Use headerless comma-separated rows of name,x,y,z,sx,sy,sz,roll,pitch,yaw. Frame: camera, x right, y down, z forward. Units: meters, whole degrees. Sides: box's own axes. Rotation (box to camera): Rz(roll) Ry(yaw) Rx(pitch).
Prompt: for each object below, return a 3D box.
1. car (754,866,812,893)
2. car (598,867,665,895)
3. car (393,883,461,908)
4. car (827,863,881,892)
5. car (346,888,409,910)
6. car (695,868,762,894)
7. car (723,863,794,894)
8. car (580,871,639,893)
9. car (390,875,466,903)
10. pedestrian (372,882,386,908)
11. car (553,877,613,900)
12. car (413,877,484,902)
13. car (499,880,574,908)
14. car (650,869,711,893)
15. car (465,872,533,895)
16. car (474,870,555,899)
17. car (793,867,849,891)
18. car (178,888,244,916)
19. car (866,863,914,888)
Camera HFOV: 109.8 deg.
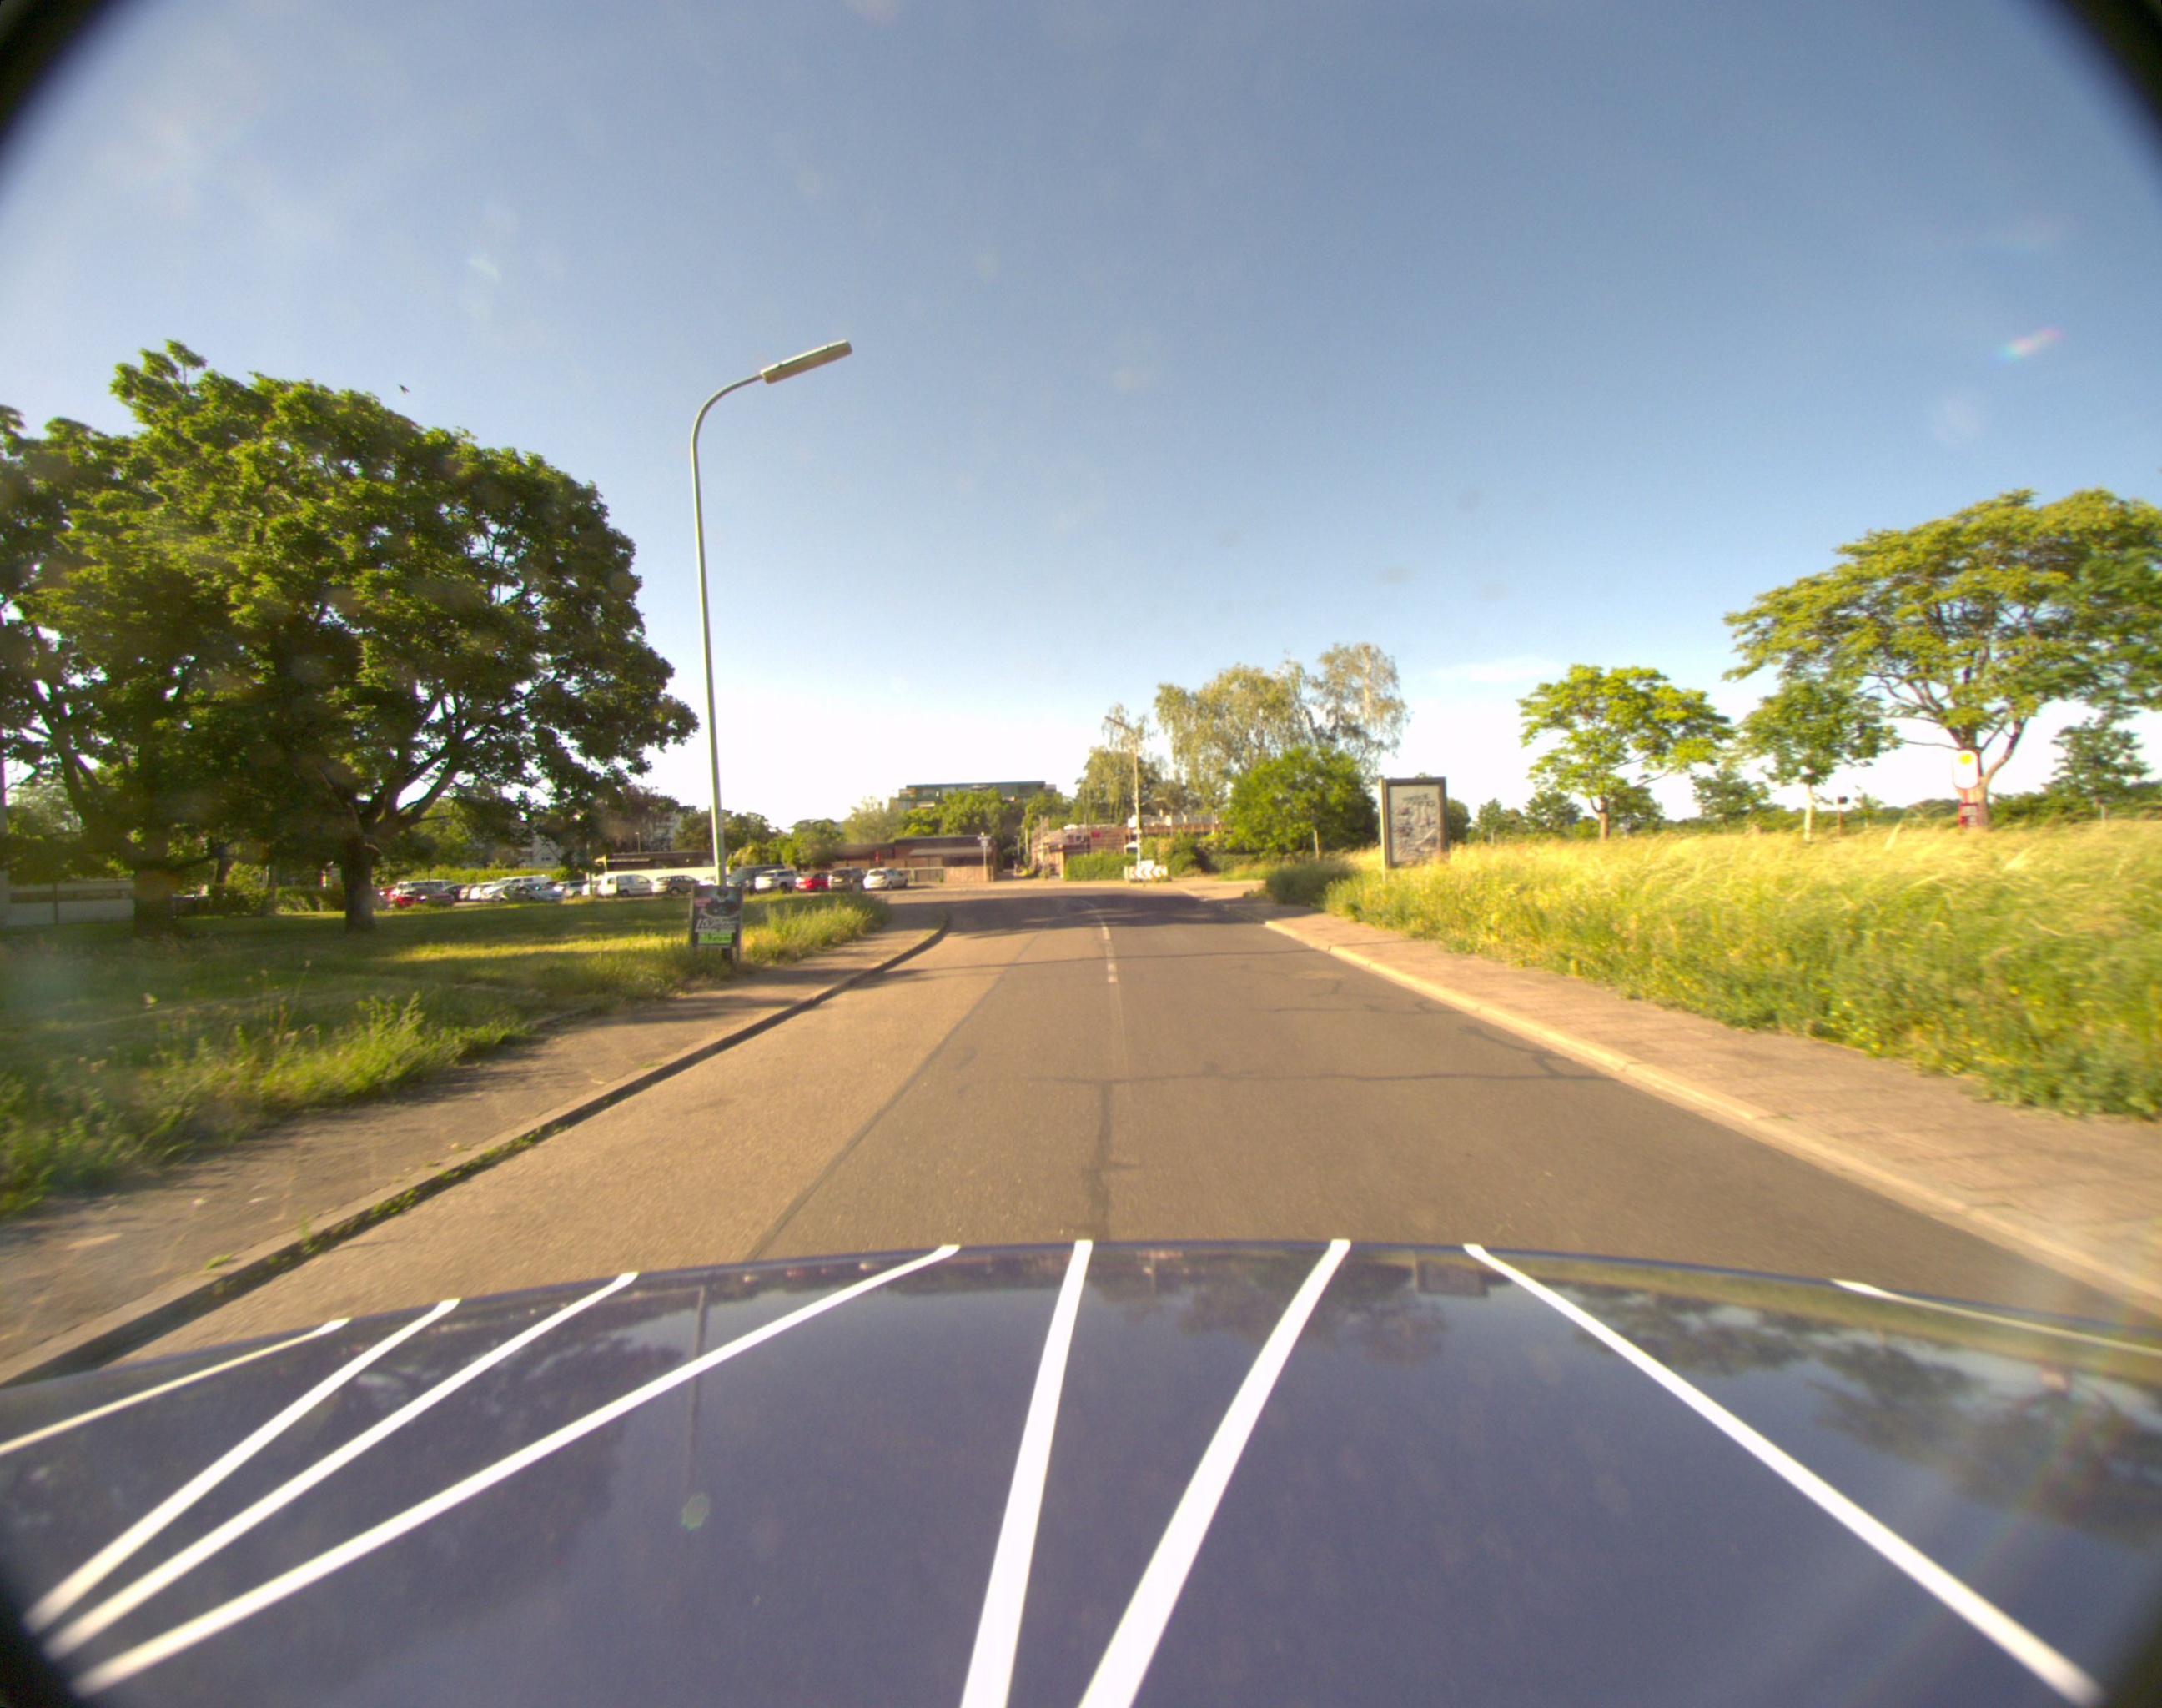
car,-20.598,1.737,52.682,1.729,1.598,3.627,-2,2,19
car,-34.143,2.032,57.857,1.921,1.770,3.994,-3,2,18
car,-42.327,2.668,49.207,3.780,1.438,1.582,-2,1,19
car,-15.434,1.555,51.879,1.816,1.603,4.002,-2,2,12
car,-48.518,3.087,52.390,3.873,1.394,1.655,-2,0,22
car,-25.409,1.939,54.933,1.921,1.484,4.155,-2,2,20
car,-22.859,1.666,54.039,1.996,1.904,4.892,-2,1,15
car,-36.375,2.149,58.734,1.724,1.480,3.530,-2,0,20
car,-56.810,3.002,66.192,1.995,1.966,4.499,-1,3,25
pedestrian,-42.258,2.466,45.756,0.595,1.555,0.484,-1,0,32
car,-38.713,2.653,59.147,1.633,1.481,3.529,-1,3,24
car,-54.420,3.038,65.418,1.879,1.696,4.170,-1,3,27
car,-32.680,2.397,45.594,3.780,1.534,1.739,-2,1,19
car,-29.714,2.016,56.510,1.786,1.523,3.830,-2,1,16
car,-48.572,2.442,63.456,1.879,1.574,4.005,-1,3,25
car,-46.061,2.422,61.865,2.077,1.910,4.809,-2,2,20
car,-17.985,1.711,52.744,1.729,1.337,3.627,-2,2,19
car,-55.225,3.043,48.220,3.803,1.586,1.736,-3,1,26
car,-12.881,1.445,51.393,1.632,1.450,3.701,-2,1,12
